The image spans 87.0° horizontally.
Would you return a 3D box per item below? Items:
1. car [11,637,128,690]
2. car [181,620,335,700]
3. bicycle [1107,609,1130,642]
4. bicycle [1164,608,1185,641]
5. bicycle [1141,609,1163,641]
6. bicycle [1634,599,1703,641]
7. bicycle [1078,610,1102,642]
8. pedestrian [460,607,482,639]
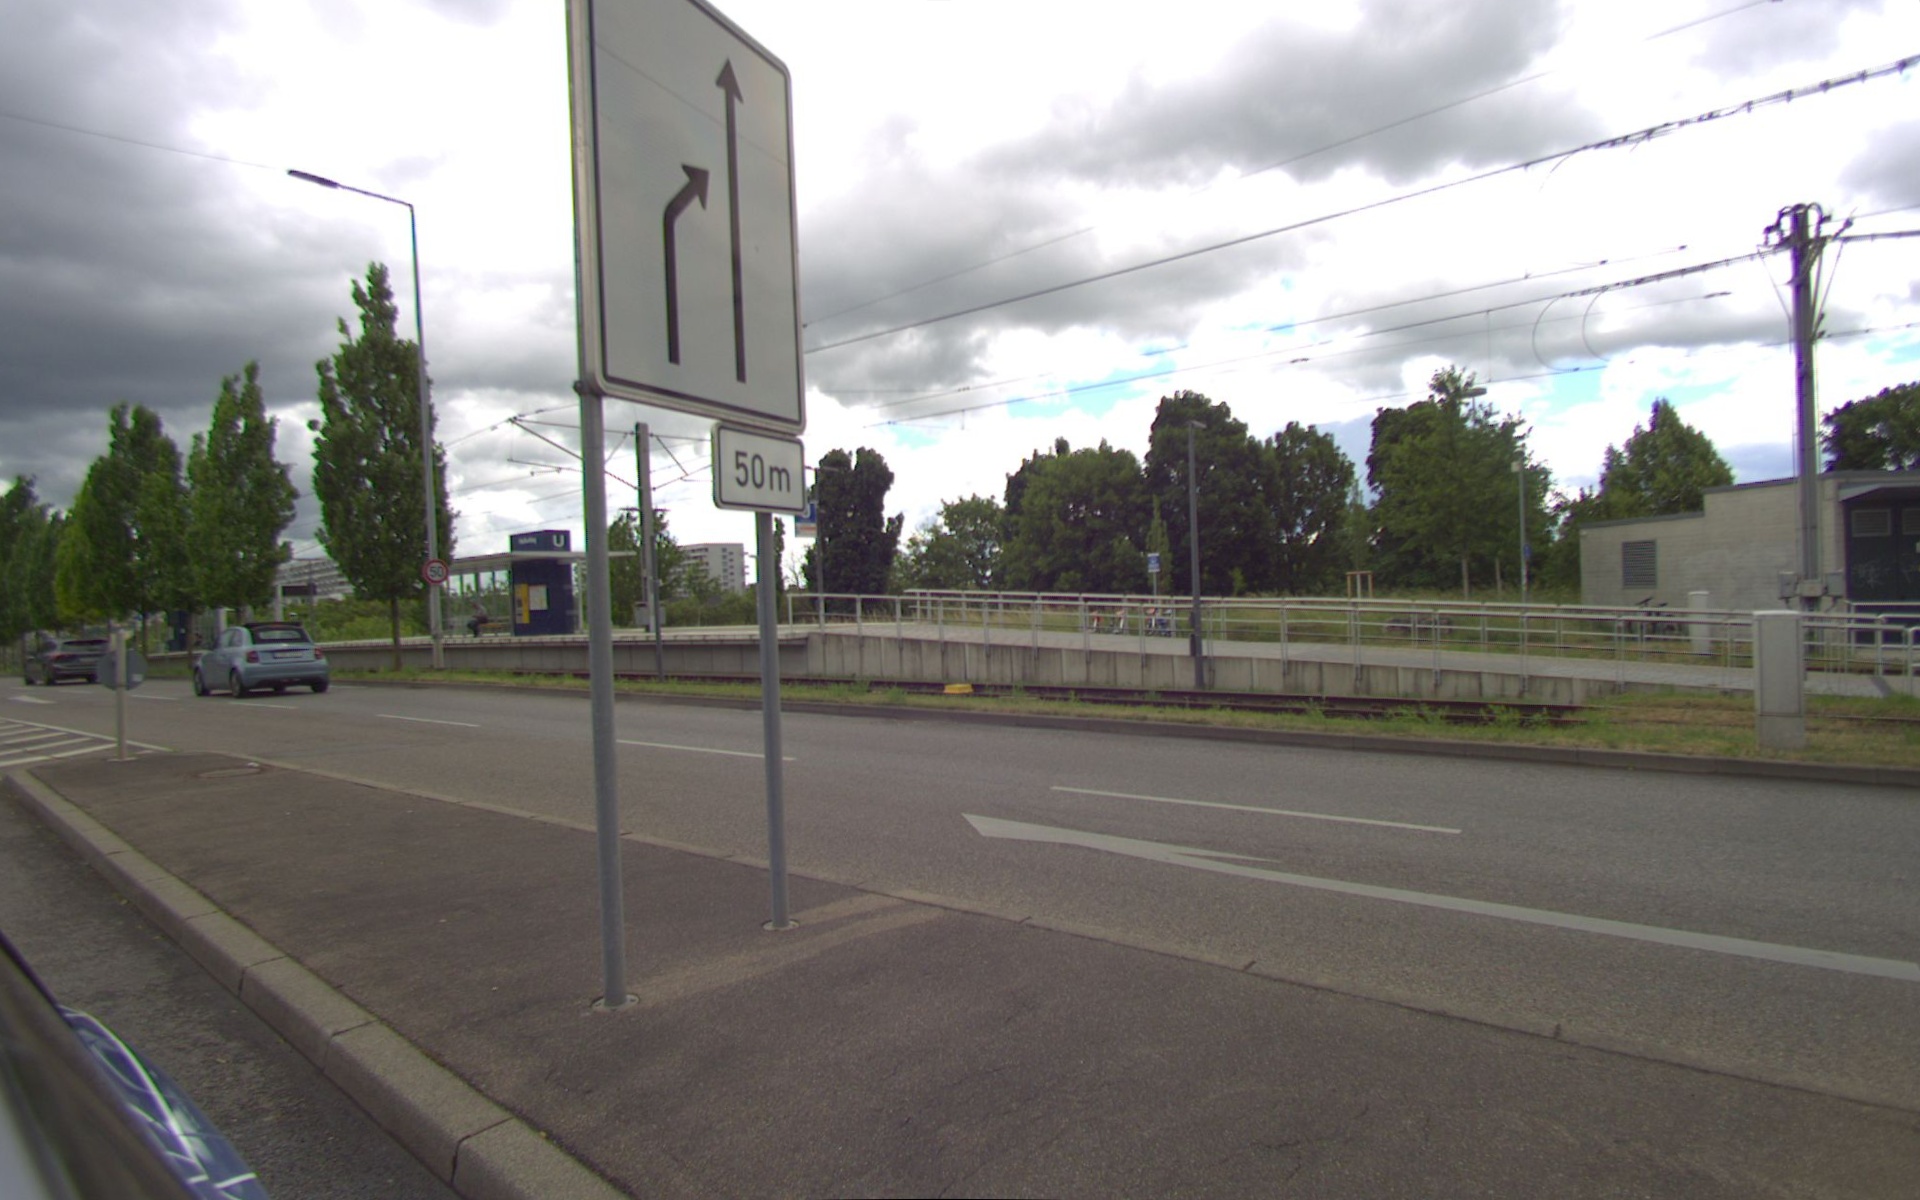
[{"bbox_3d":[-28.011,1.948,31.784,4.424,1.435,1.854,-1,0,36],"label":"car"},{"bbox_3d":[-15.201,1.228,21.864,3.596,1.540,1.740,-1,0,38],"label":"car"},{"bbox_3d":[5.400,0.854,34.442,0.531,1.039,1.804,-1,0,16],"label":"bicycle"},{"bbox_3d":[7.145,0.809,33.716,0.531,1.039,1.804,-1,0,16],"label":"bicycle"},{"bbox_3d":[6.456,0.826,33.988,0.531,1.039,1.804,-1,0,16],"label":"bicycle"},{"bbox_3d":[18.245,0.501,26.099,0.529,1.039,1.813,-1,0,1],"label":"bicycle"},{"bbox_3d":[4.504,0.889,34.896,0.531,1.039,1.804,-1,0,16],"label":"bicycle"},{"bbox_3d":[-18.289,0.859,37.833,0.447,1.163,0.593,-1,0,41],"label":"pedestrian"}]
